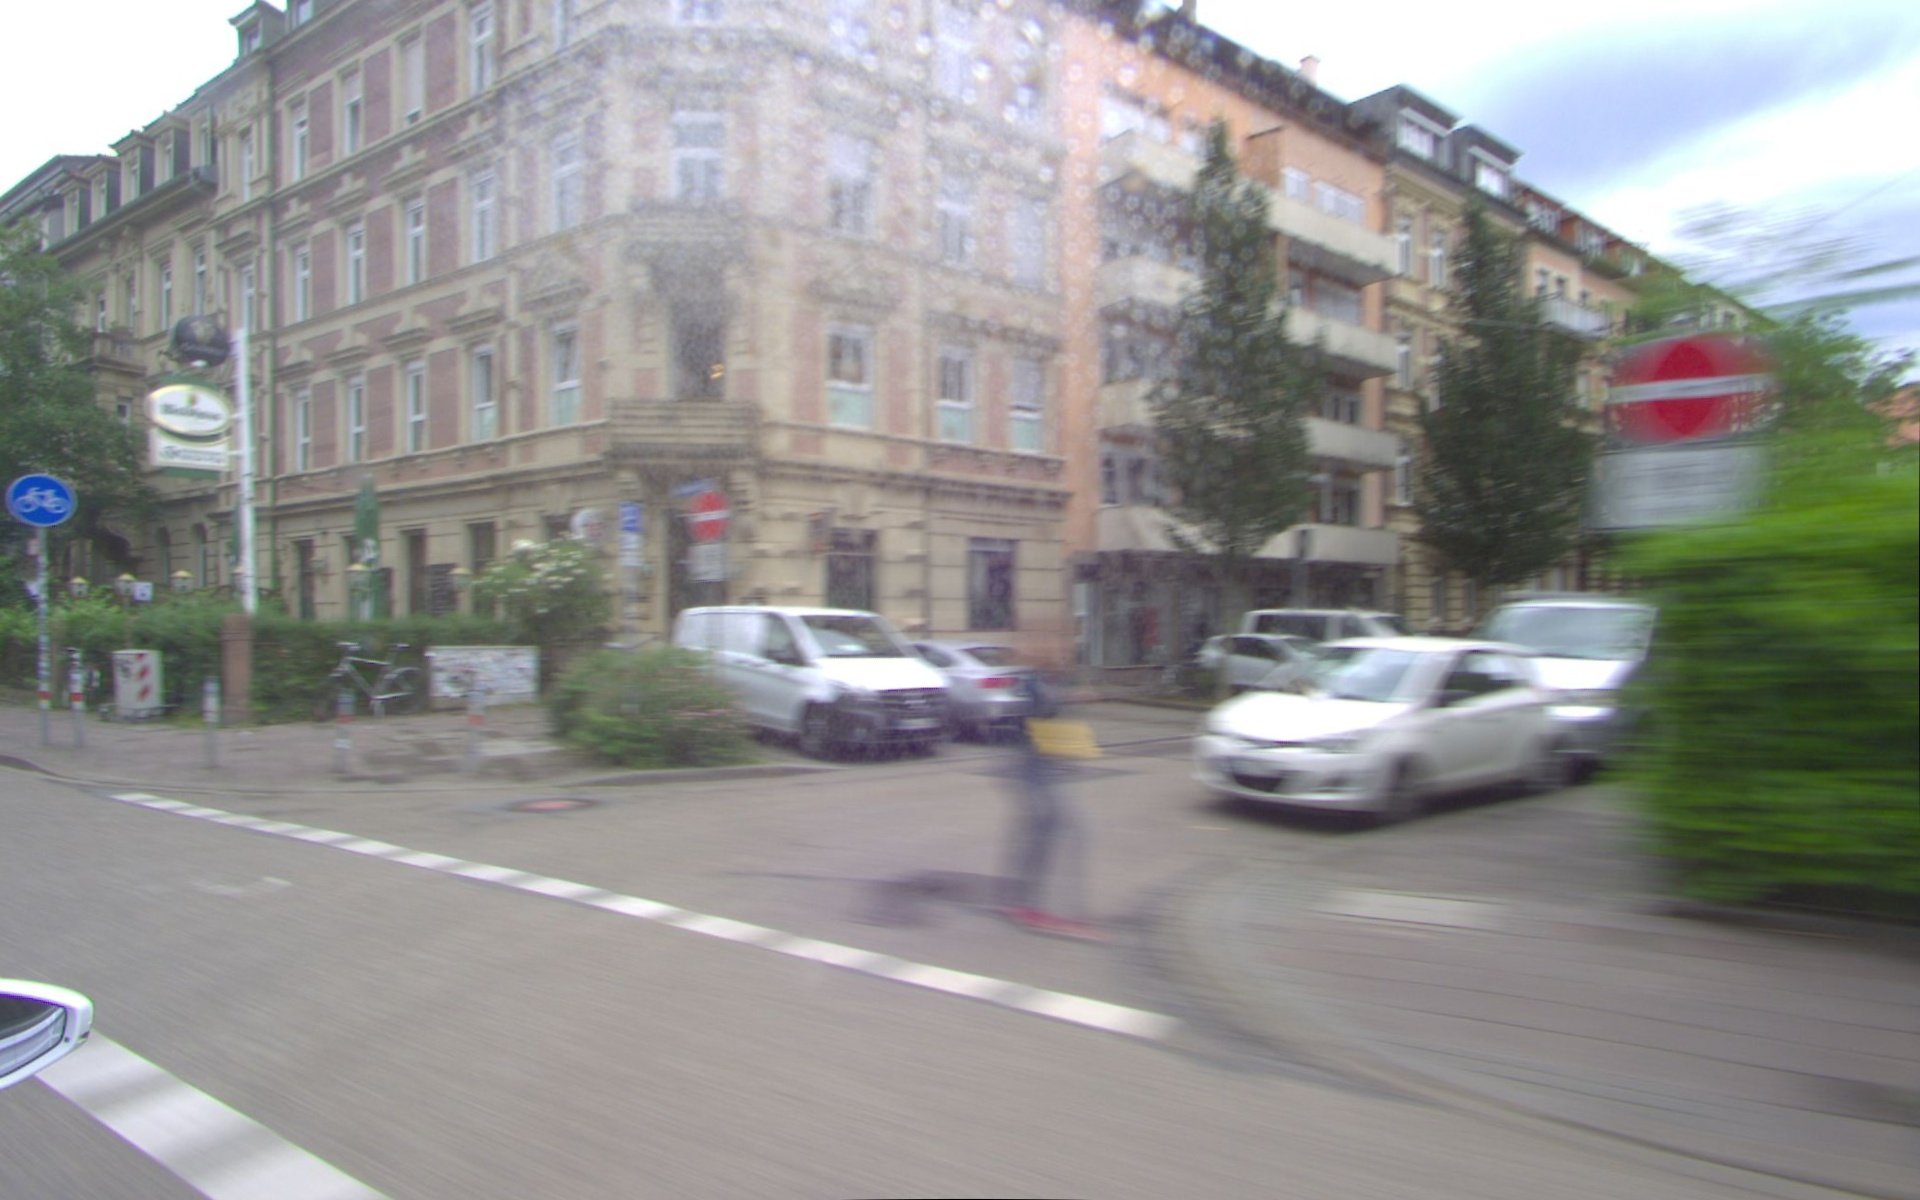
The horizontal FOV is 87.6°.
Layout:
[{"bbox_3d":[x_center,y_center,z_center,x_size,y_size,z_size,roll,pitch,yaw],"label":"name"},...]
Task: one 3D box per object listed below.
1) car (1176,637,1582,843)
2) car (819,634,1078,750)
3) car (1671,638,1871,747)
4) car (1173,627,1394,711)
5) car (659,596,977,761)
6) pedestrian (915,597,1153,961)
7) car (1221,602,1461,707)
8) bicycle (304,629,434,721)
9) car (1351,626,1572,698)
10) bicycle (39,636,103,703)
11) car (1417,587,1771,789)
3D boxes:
[{"bbox_3d":[3.886,1.087,9.082,3.773,1.449,1.660,1,-1,-35],"label":"car"},{"bbox_3d":[-0.284,1.284,15.274,1.685,1.384,3.960,1,0,-44],"label":"car"},{"bbox_3d":[12.810,1.362,15.749,3.776,1.472,1.555,1,-1,-37],"label":"car"},{"bbox_3d":[6.596,1.368,20.830,1.751,1.539,4.189,0,-2,-34],"label":"car"},{"bbox_3d":[-2.183,0.966,14.088,2.037,1.902,4.984,1,-2,-42],"label":"car"},{"bbox_3d":[0.378,0.840,5.244,0.866,1.677,0.901,1,-1,-39],"label":"pedestrian"},{"bbox_3d":[8.313,1.164,22.291,1.871,2.071,4.758,0,-2,-36],"label":"car"},{"bbox_3d":[-8.810,1.083,14.964,0.507,1.294,1.596,0,-1,43],"label":"bicycle"},{"bbox_3d":[12.366,1.465,24.960,1.974,1.631,4.573,1,-2,-34],"label":"car"},{"bbox_3d":[-14.804,1.131,16.660,1.822,1.055,0.301,0,-1,32],"label":"bicycle"},{"bbox_3d":[7.653,0.891,11.934,4.686,1.964,1.962,1,0,-36],"label":"car"}]
